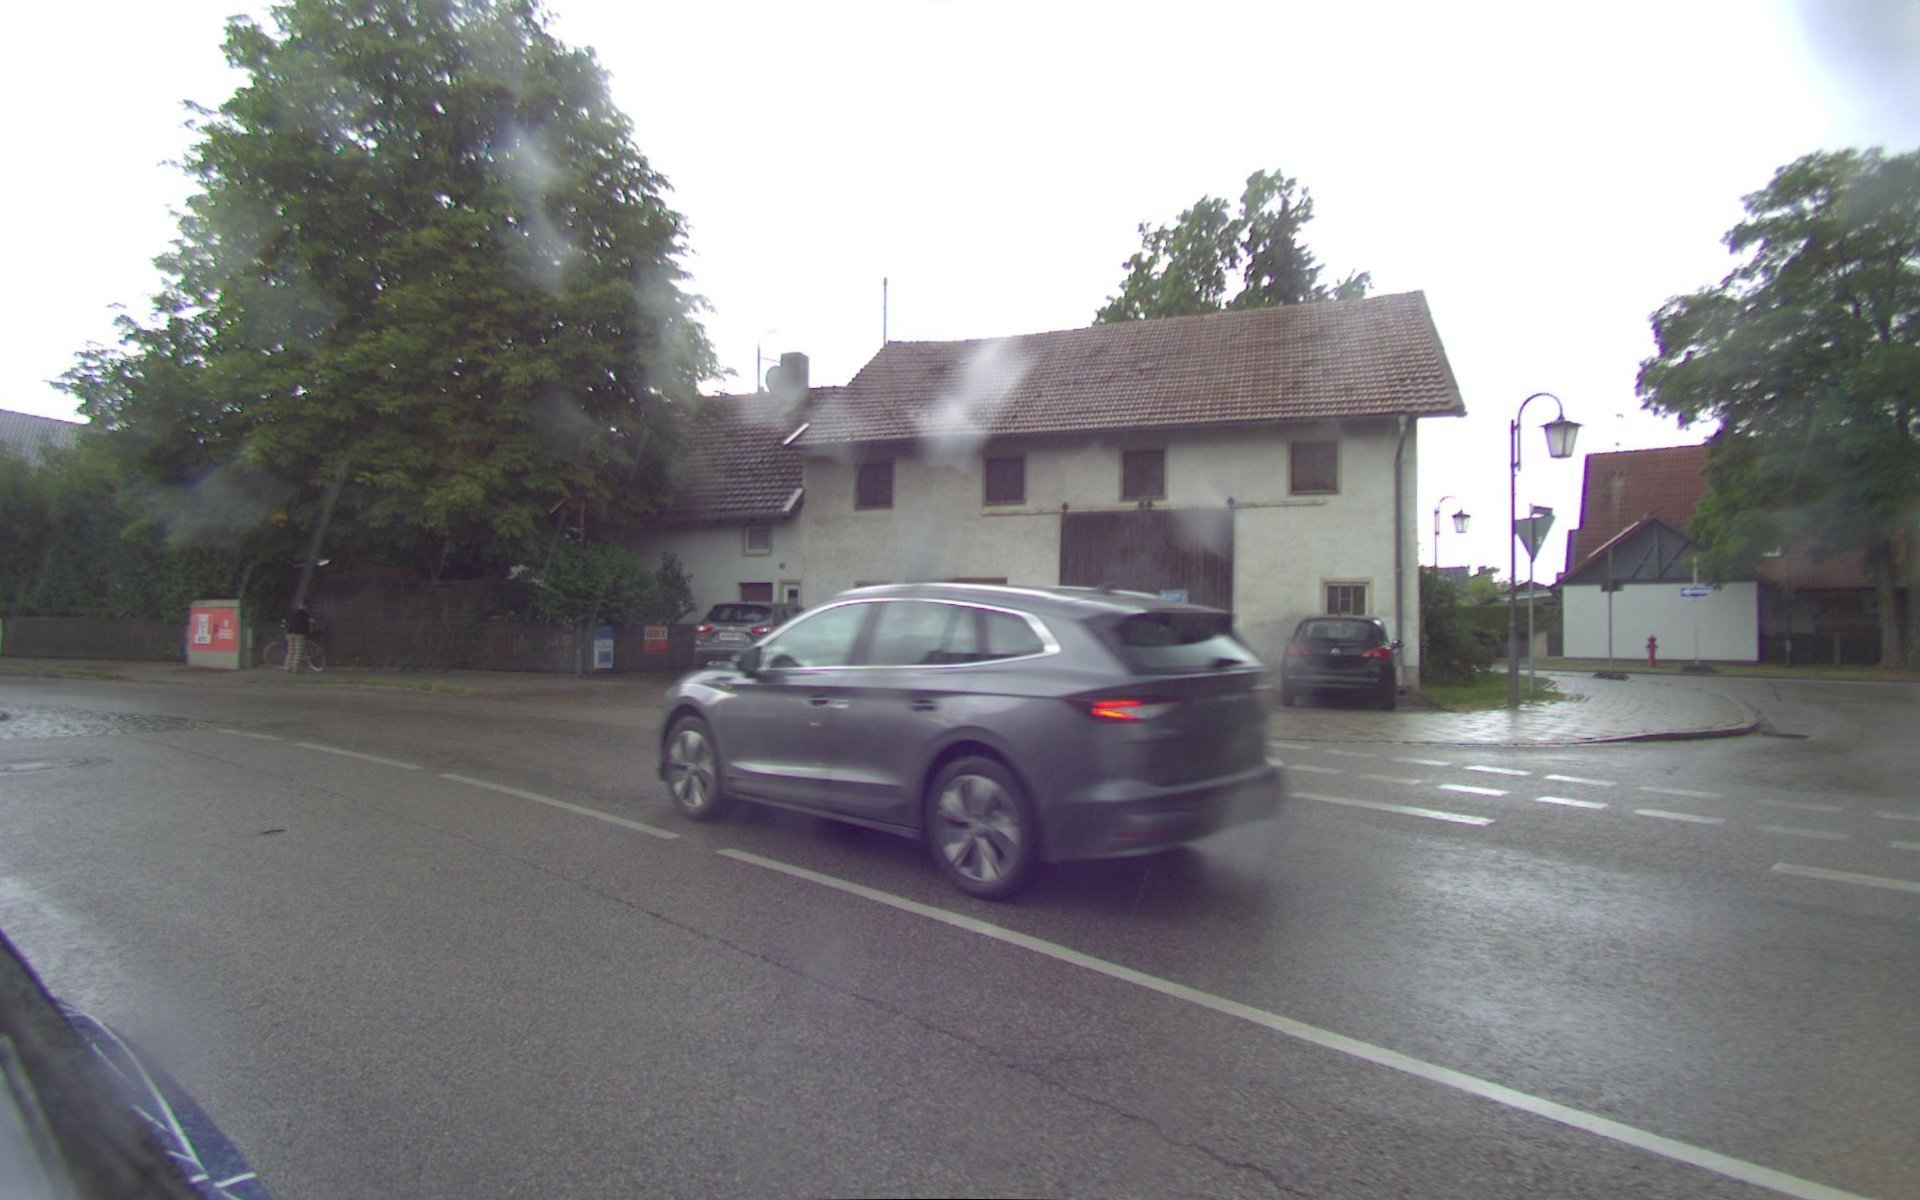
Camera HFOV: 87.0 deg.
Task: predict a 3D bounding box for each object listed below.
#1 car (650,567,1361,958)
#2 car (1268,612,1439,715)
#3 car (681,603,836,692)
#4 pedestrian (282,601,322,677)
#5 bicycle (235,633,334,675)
[{"bbox_3d":[0.022,0.697,6.344,4.192,1.607,1.971,-1,-1,44],"label":"car"},{"bbox_3d":[6.539,0.944,16.534,1.815,1.447,4.233,-1,-1,33],"label":"car"},{"bbox_3d":[-3.837,0.941,20.085,1.796,1.560,4.272,0,-3,6],"label":"car"},{"bbox_3d":[-14.345,0.845,22.085,0.642,1.640,0.480,1,-1,-24],"label":"pedestrian"},{"bbox_3d":[-15.171,1.197,22.749,1.851,0.909,0.663,0,-1,5],"label":"bicycle"}]
